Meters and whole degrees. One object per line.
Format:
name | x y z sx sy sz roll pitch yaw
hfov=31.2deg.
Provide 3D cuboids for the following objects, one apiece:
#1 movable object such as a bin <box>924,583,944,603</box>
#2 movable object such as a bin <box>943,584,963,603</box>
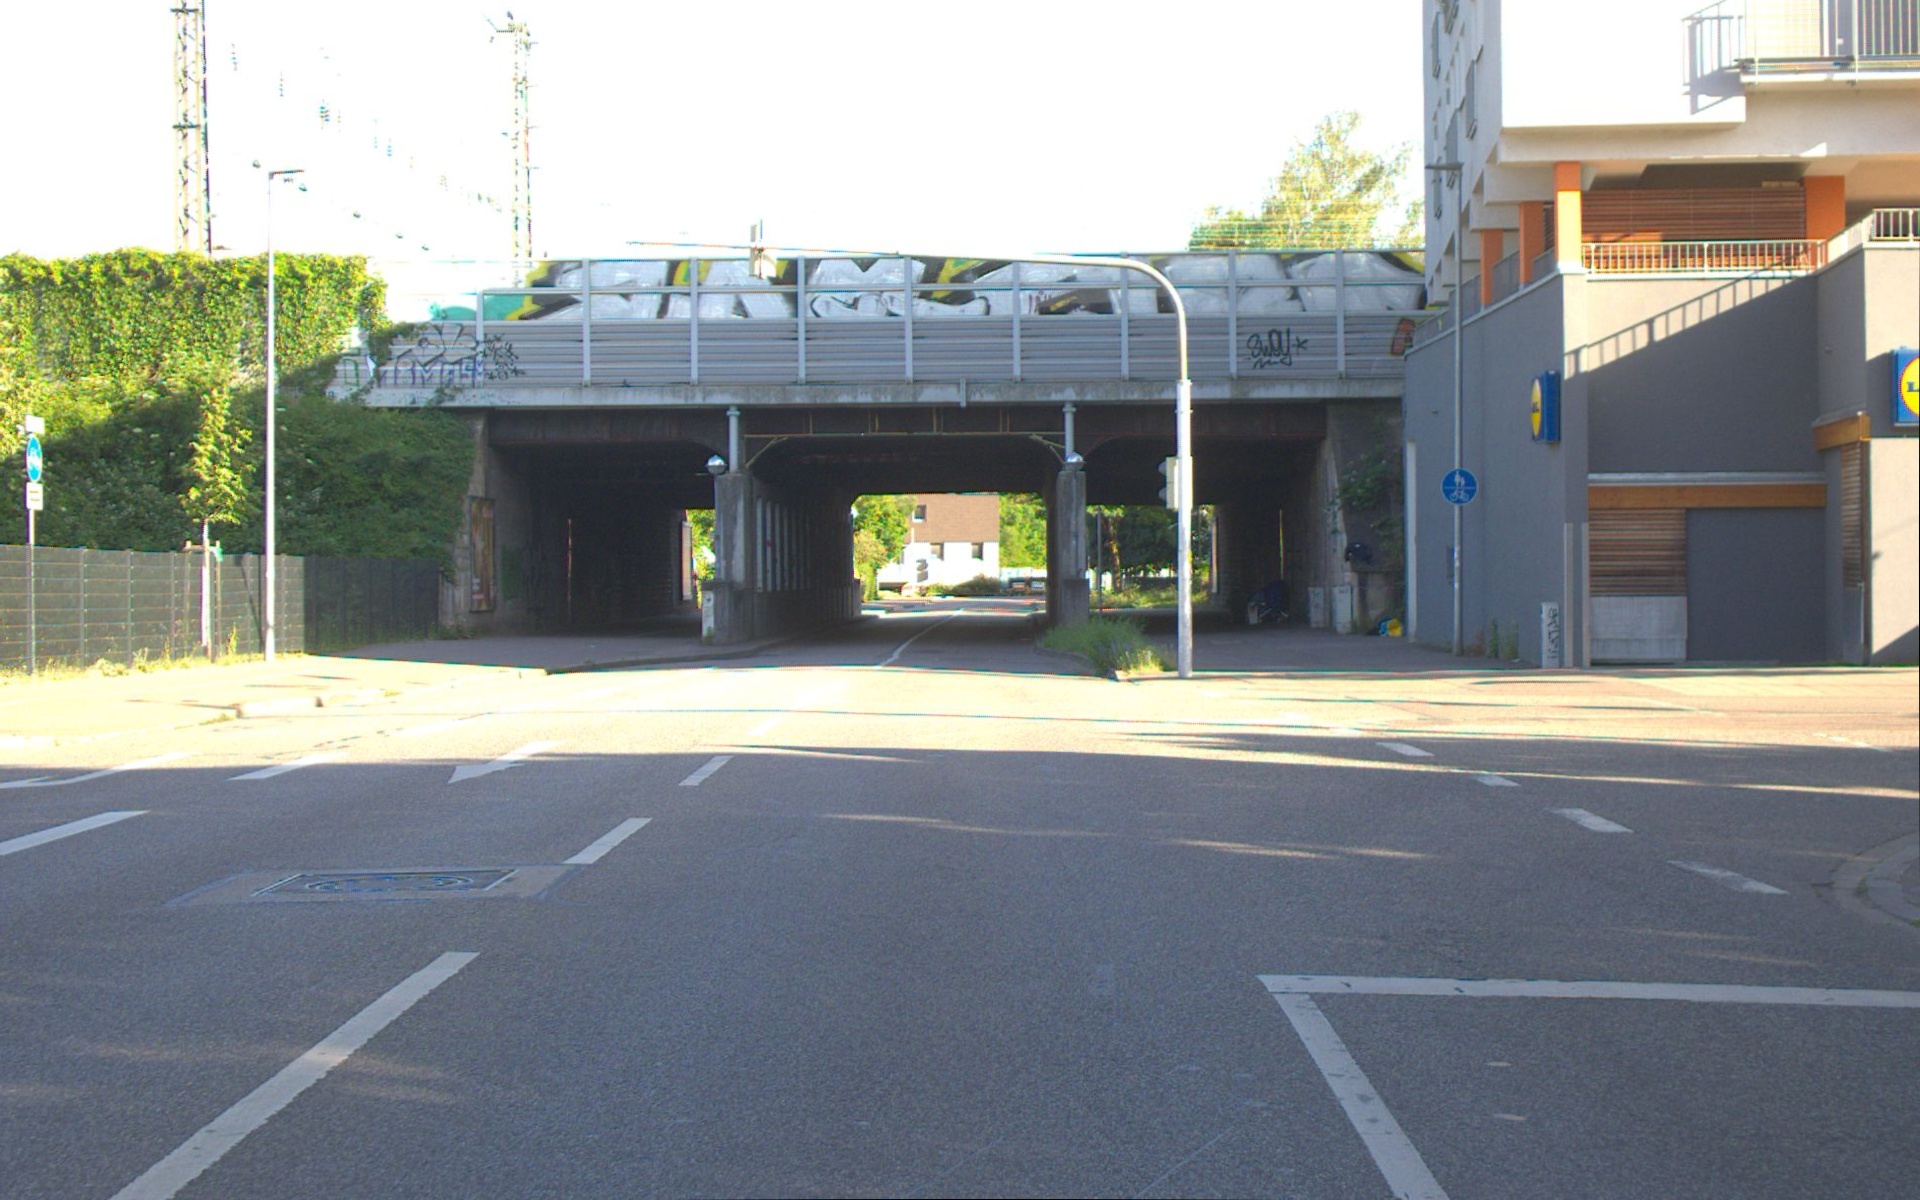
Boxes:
movable object such as a bin | -1.907 -0.520 251.815 1.364 1.413 1.066 2 0 -6
movable object such as a bin | -0.520 -0.479 252.028 1.364 1.413 1.066 2 0 -6
